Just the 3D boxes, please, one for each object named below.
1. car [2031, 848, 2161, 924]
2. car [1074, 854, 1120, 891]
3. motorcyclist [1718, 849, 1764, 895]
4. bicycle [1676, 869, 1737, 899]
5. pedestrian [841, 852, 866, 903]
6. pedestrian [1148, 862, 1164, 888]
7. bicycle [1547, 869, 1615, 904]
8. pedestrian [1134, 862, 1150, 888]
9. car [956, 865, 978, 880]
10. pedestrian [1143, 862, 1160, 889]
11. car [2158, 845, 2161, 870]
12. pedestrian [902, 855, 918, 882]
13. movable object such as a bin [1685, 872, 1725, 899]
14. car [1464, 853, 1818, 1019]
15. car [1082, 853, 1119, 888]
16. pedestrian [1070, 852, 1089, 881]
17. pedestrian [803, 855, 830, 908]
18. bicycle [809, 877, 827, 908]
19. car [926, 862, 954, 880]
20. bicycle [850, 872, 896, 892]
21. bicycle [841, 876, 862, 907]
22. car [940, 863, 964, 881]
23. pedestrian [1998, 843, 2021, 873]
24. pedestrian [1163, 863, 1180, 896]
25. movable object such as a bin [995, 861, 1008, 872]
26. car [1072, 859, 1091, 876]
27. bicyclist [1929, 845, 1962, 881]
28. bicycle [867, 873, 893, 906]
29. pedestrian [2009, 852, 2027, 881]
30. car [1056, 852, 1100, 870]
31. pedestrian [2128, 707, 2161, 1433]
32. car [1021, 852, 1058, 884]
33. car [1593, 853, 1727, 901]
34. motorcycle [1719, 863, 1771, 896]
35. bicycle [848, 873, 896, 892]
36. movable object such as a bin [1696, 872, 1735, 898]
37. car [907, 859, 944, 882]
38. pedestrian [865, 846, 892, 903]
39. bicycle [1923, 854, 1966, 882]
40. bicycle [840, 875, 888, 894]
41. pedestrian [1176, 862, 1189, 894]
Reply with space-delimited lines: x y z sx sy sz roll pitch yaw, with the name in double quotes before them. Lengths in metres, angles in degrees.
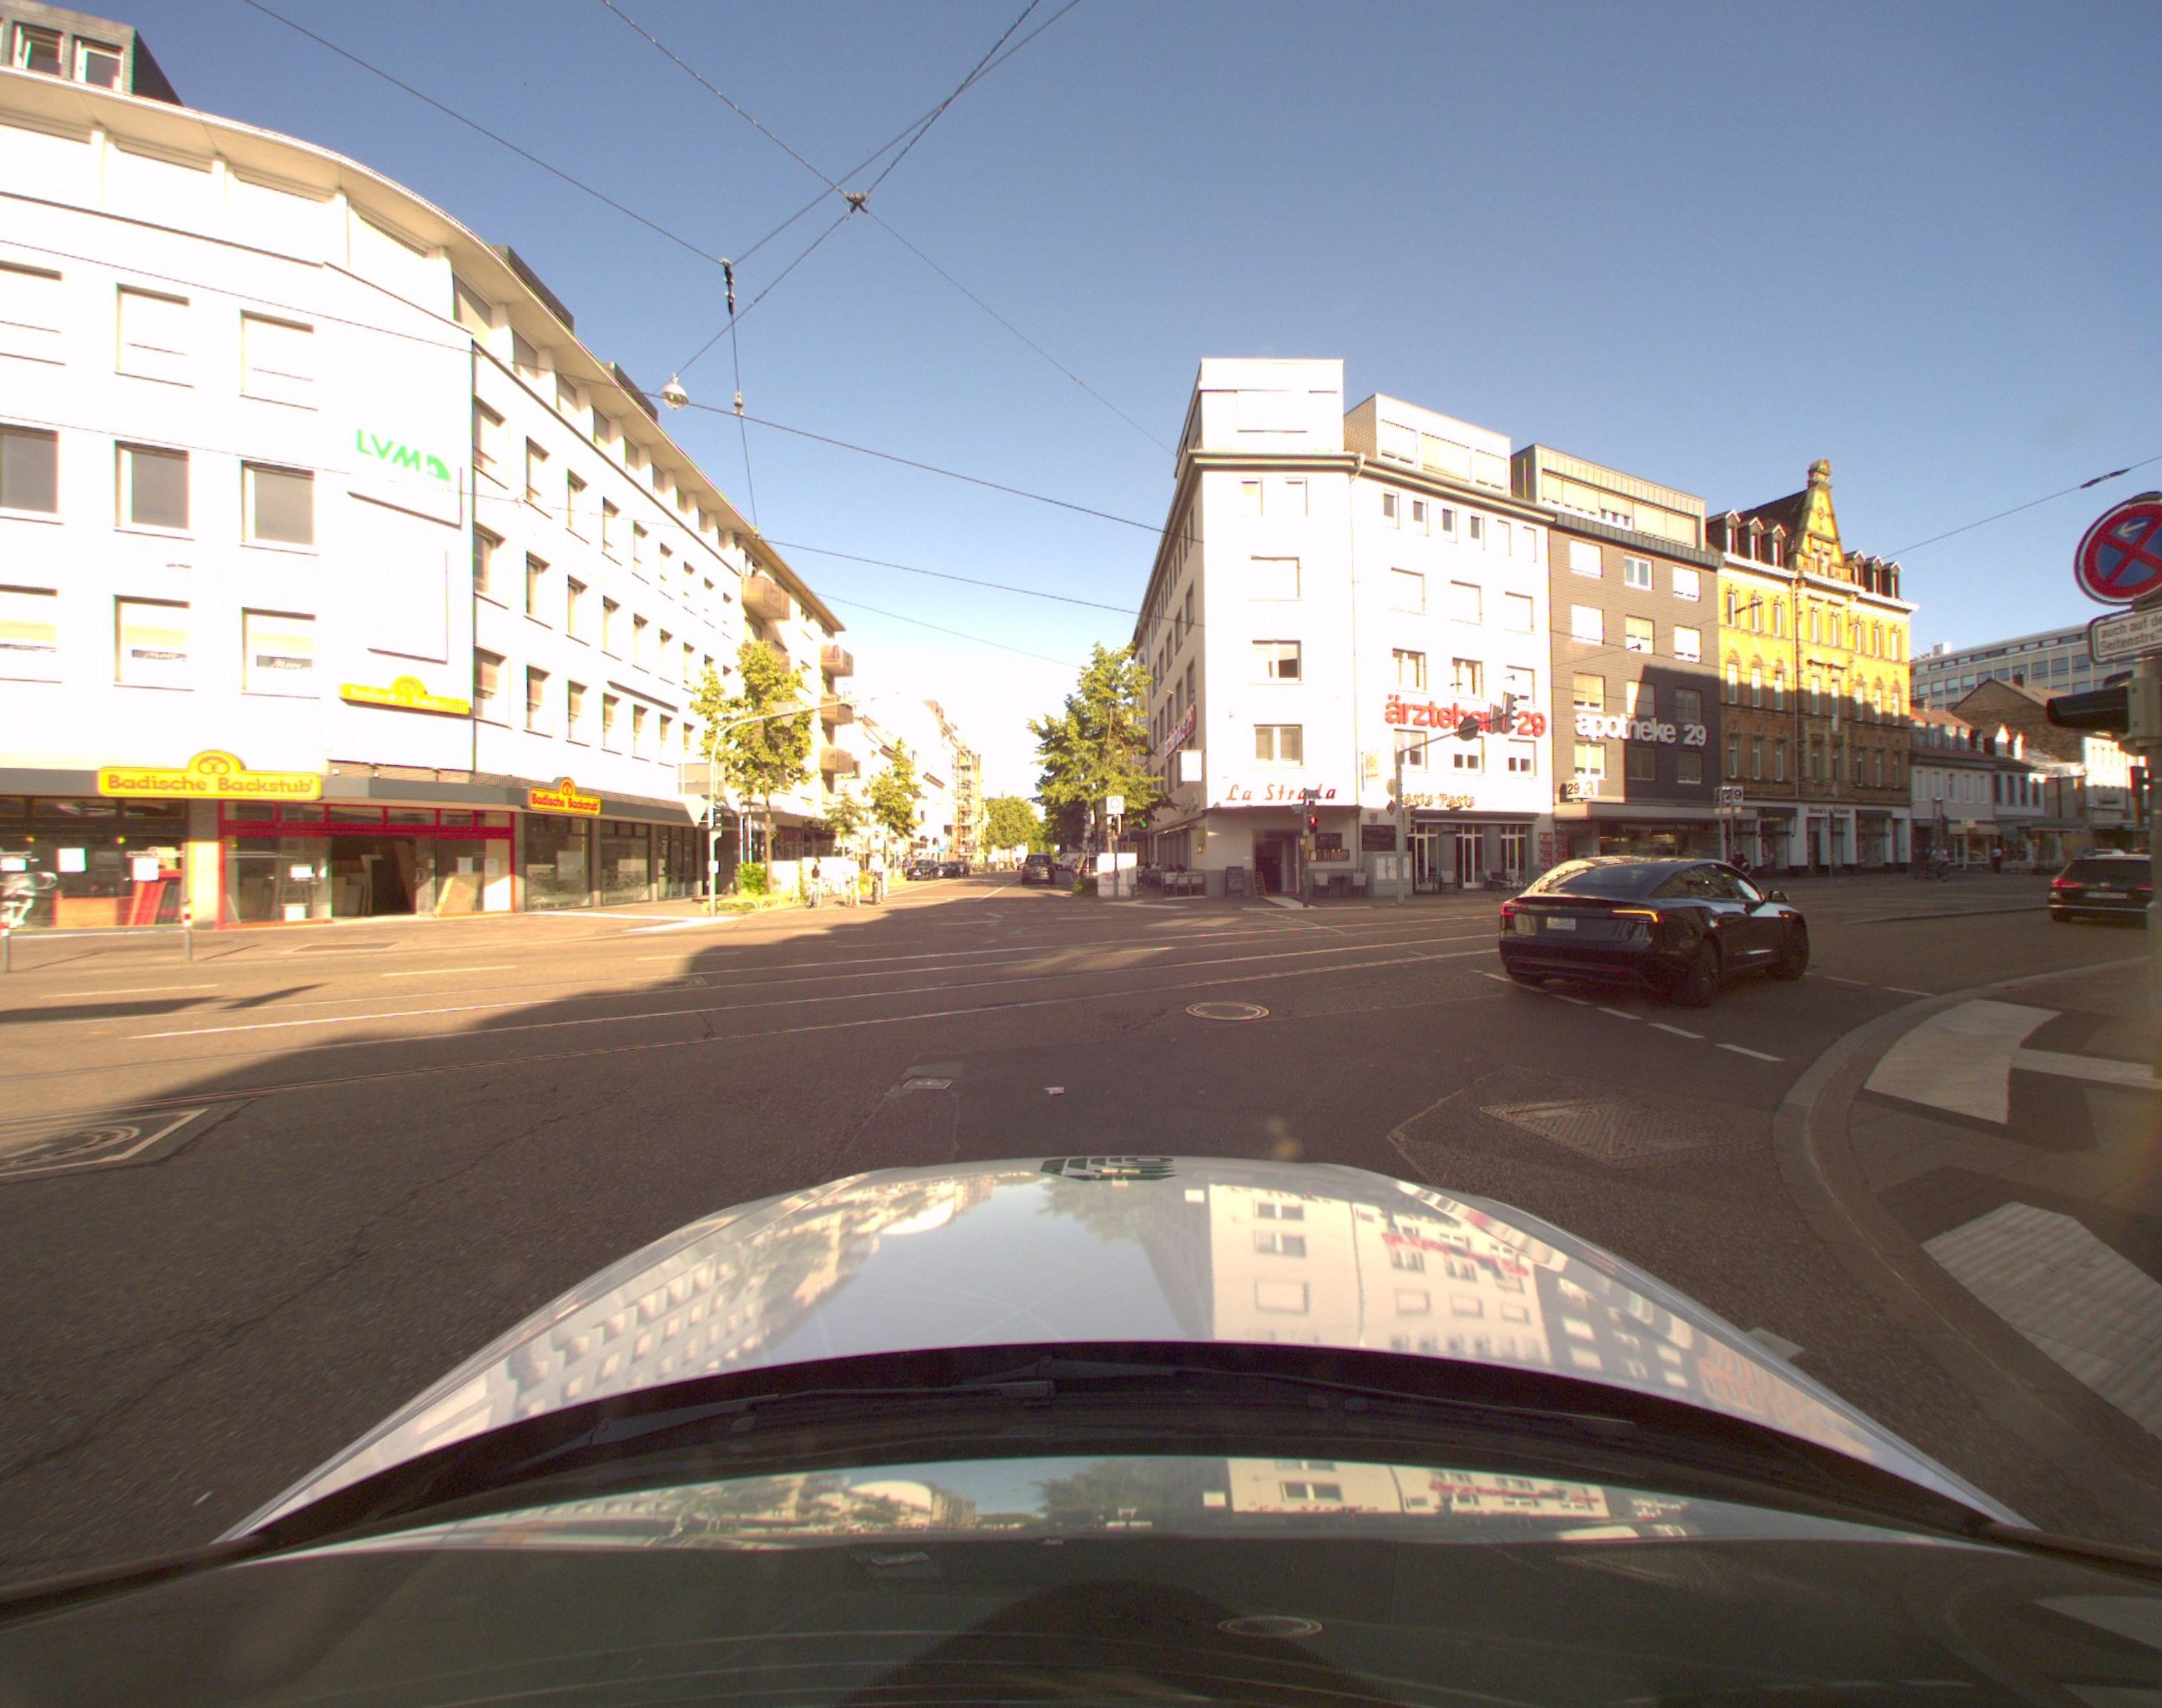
"car" 21.737 0.631 16.947 4.366 1.419 1.751 1 -1 -29
"car" 0.702 0.839 38.135 1.995 1.636 4.286 0 0 -1
"motorcyclist" 23.225 0.635 28.675 1.147 1.558 0.799 0 -2 -24
"bicycle" 25.727 1.225 33.535 0.553 1.190 1.923 0 -1 -29
"pedestrian" -7.812 0.813 27.970 0.779 1.728 0.556 1 -1 -16
"pedestrian" 3.997 1.087 43.308 0.728 1.360 0.958 -1 -1 -1
"bicycle" 19.005 1.226 30.976 0.776 1.223 2.090 0 1 -30
"pedestrian" 3.219 1.094 43.127 0.708 1.347 1.058 -1 -1 -4
"car" -10.987 1.785 78.642 1.782 1.402 3.902 0 -1 -3
"pedestrian" 3.637 1.085 42.029 0.729 1.347 1.058 -1 -1 -3
"car" 69.384 0.201 51.082 2.834 1.566 1.640 0 -1 -25
"pedestrian" -13.521 1.121 64.396 0.949 2.013 1.088 -3 0 -3
"movable object such as a bin" 26.111 1.300 34.080 0.736 1.071 1.094 0 1 -25
"car" 6.379 0.710 9.118 4.382 1.427 1.856 0 0 -35
"car" 1.013 0.870 44.570 1.898 1.852 4.286 0 0 -1
"pedestrian" -0.084 0.853 54.578 0.951 1.915 1.109 -1 -1 15
"pedestrian" -8.693 0.879 26.754 0.792 1.712 0.651 1 -1 -16
"bicycle" -8.729 1.266 27.017 0.481 0.955 1.448 0 -1 -15
"car" -11.718 1.398 67.948 1.782 1.402 3.902 0 -1 -3
"bicycle" -11.229 1.519 44.076 2.398 1.006 0.653 0 -1 -12
"bicycle" -7.743 1.256 27.509 0.553 0.968 1.787 0 -1 -12
"car" -11.657 1.612 73.775 1.713 1.610 3.595 -1 0 -2
"pedestrian" 55.982 0.254 49.101 0.717 1.775 0.613 0 -1 -12
"pedestrian" 3.620 1.019 32.534 0.584 1.313 0.560 -1 -1 -1
"movable object such as a bin" -9.702 1.511 99.339 1.312 1.408 1.064 0 -1 -18
"car" 0.010 1.464 88.218 1.987 1.824 3.999 1 -1 0
"bicyclist" 42.361 0.422 39.909 1.147 1.729 0.747 0 -1 -25
"bicycle" -6.862 1.199 27.803 0.759 1.008 1.718 -3 0 -13
"pedestrian" 59.480 0.810 51.689 0.644 1.823 0.652 0 -1 -31
"car" -0.406 0.834 99.828 5.378 2.146 1.998 -1 -1 -3
"pedestrian" 3.063 0.546 1.785 0.638 1.842 0.681 0 -1 -2
"car" -2.319 0.787 46.508 1.898 1.733 4.286 0 0 -1
"car" 18.984 0.756 26.696 4.145 1.446 1.704 0 -3 -25
"motorcycle" 23.391 0.893 28.679 2.120 1.120 0.567 0 -2 -25
"bicycle" -11.078 1.513 43.247 2.390 0.978 0.653 0 -1 -12
"movable object such as a bin" 26.771 1.302 34.386 0.700 1.063 1.094 0 1 -25
"car" -11.597 1.217 60.973 1.987 1.598 4.000 1 -1 0
"pedestrian" -6.893 0.680 27.743 0.779 1.866 0.996 -3 0 -16
"bicycle" 42.295 0.690 39.883 2.027 1.293 0.747 0 2 -23
"bicycle" -11.159 1.570 41.923 2.399 0.958 0.543 0 -1 -14
"pedestrian" 4.160 0.974 33.329 0.485 1.322 0.654 -1 -1 6
